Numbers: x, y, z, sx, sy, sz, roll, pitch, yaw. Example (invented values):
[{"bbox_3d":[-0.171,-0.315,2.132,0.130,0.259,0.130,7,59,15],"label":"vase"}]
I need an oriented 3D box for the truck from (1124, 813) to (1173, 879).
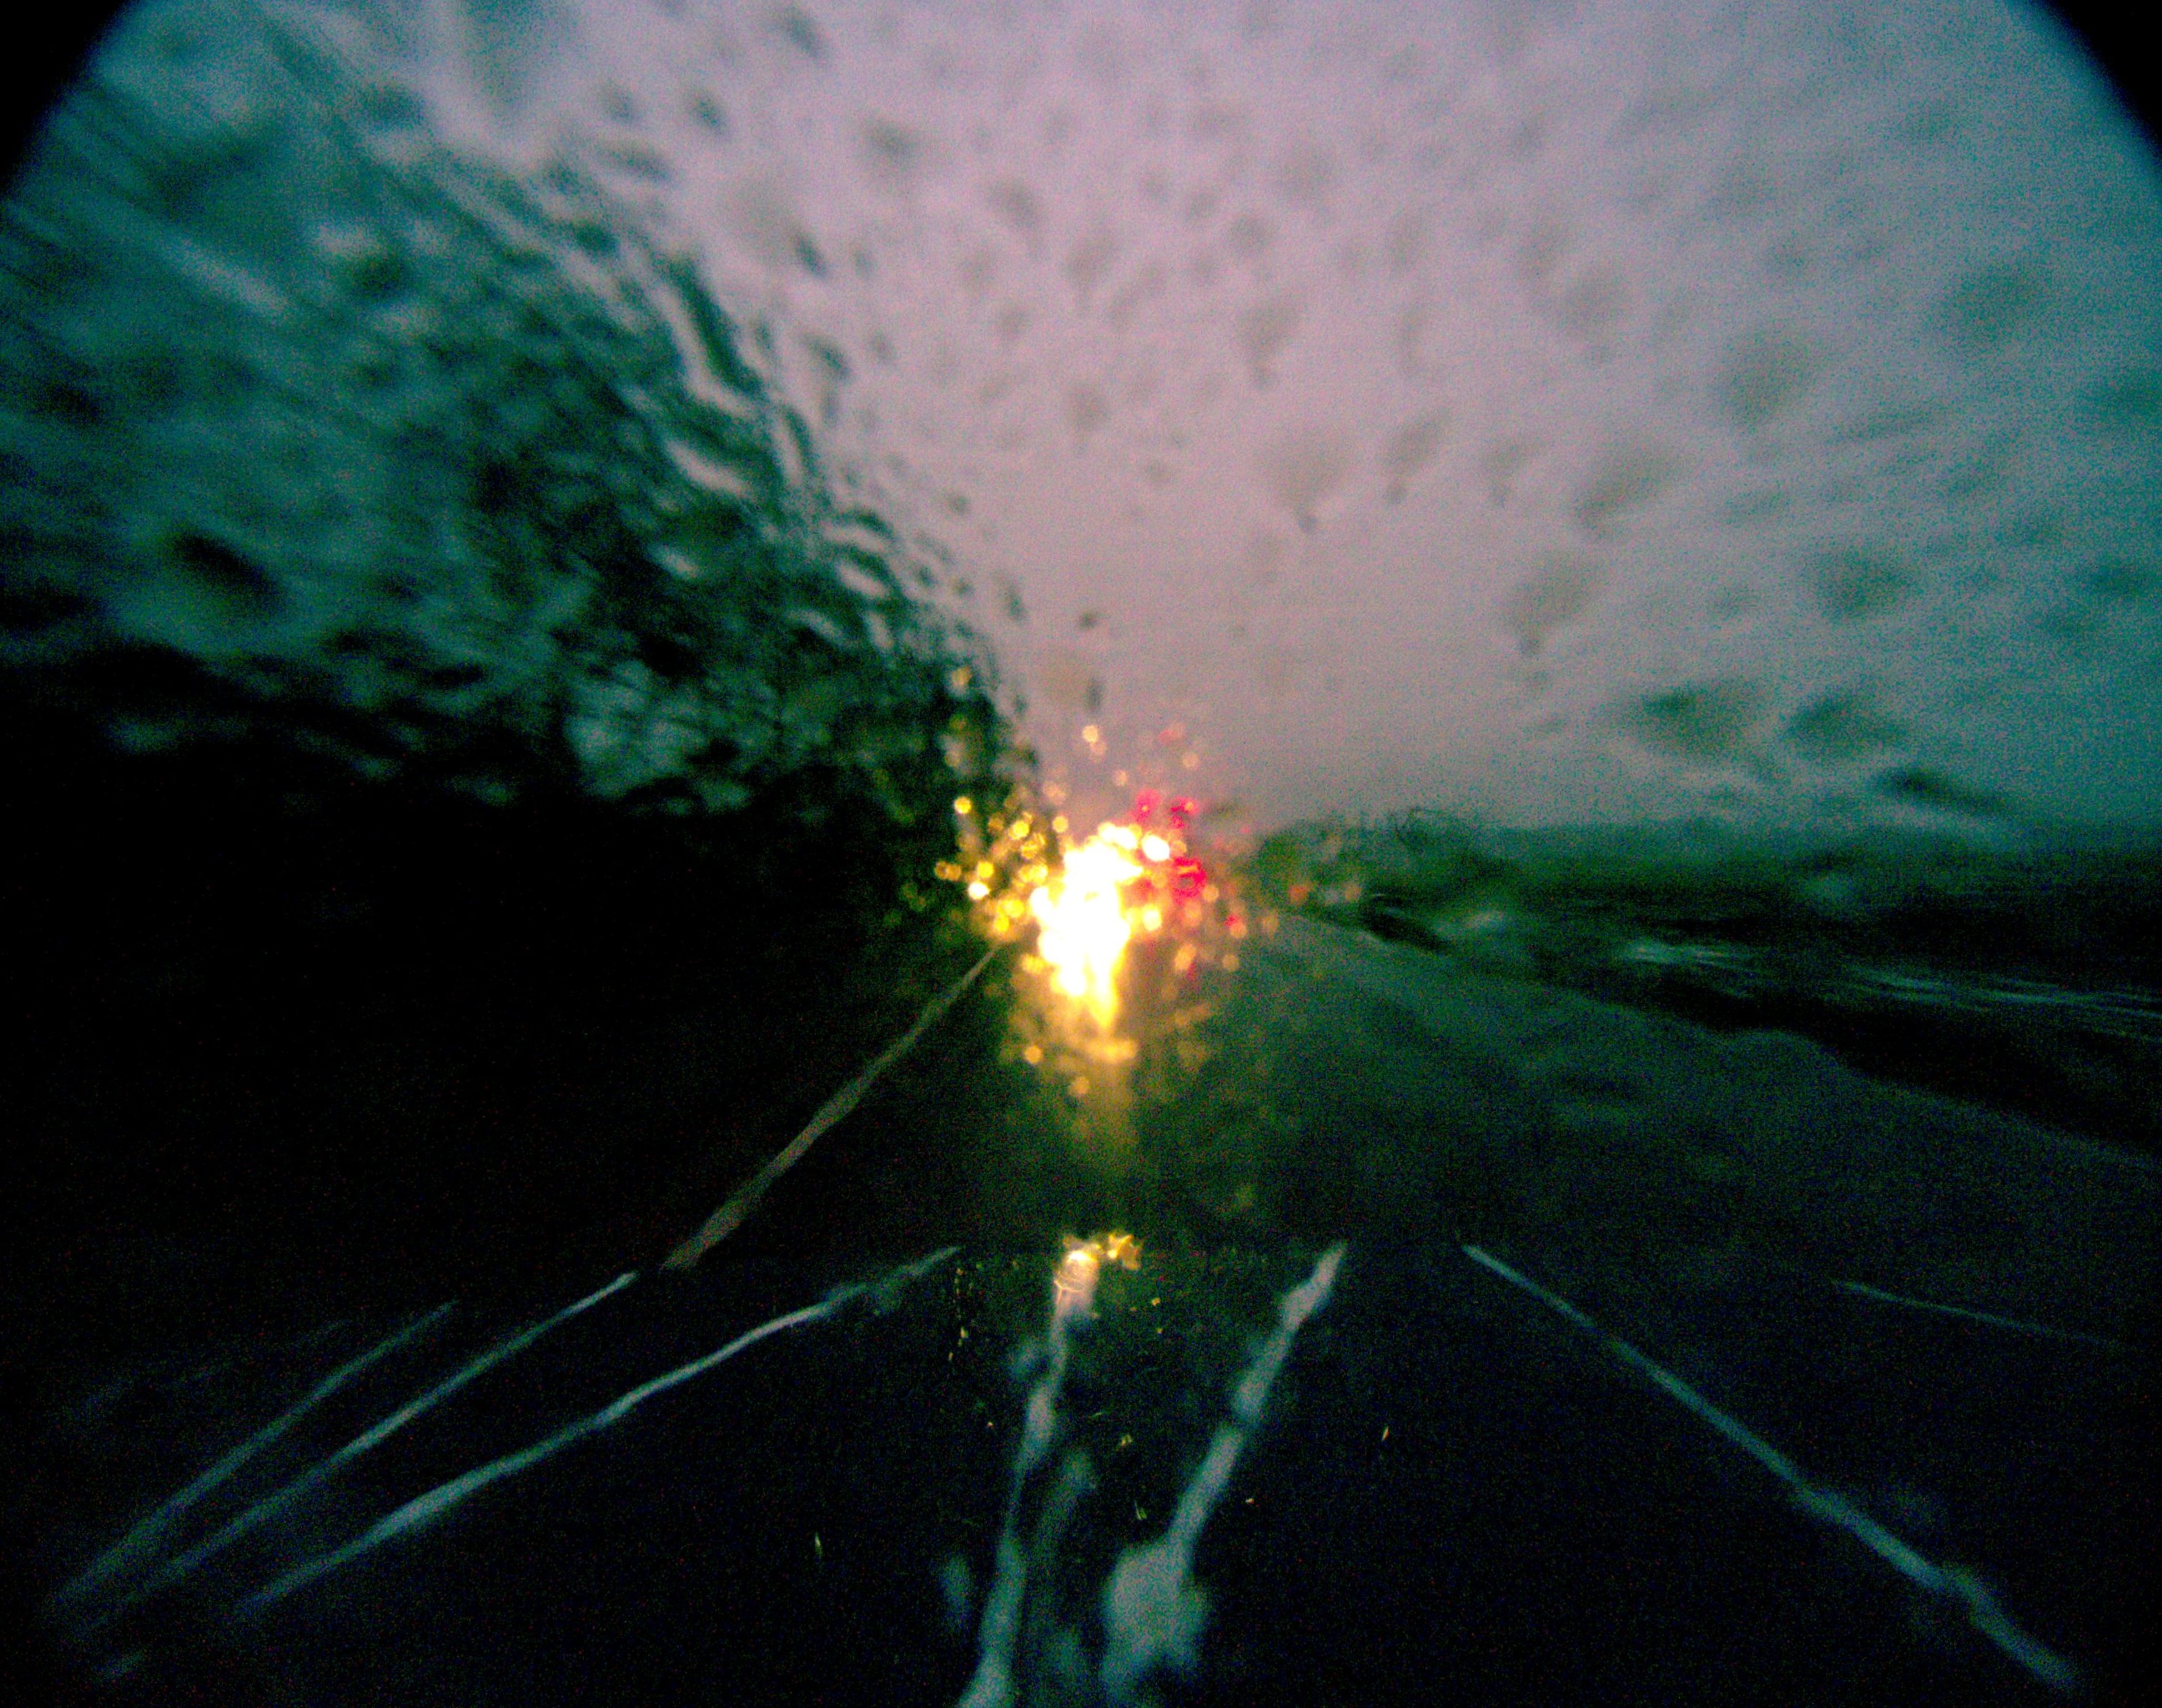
[{"bbox_3d":[4.409,-0.471,50.670,2.732,4.081,6.588,-1,0,1],"label":"truck"}]

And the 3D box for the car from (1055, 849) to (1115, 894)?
[{"bbox_3d":[0.257,0.799,38.145,2.704,1.974,5.804,-2,0,2],"label":"car"}]

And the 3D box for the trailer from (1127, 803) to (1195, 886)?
[{"bbox_3d":[4.339,-0.475,43.927,2.708,4.056,12.381,-1,0,1],"label":"trailer"}]
